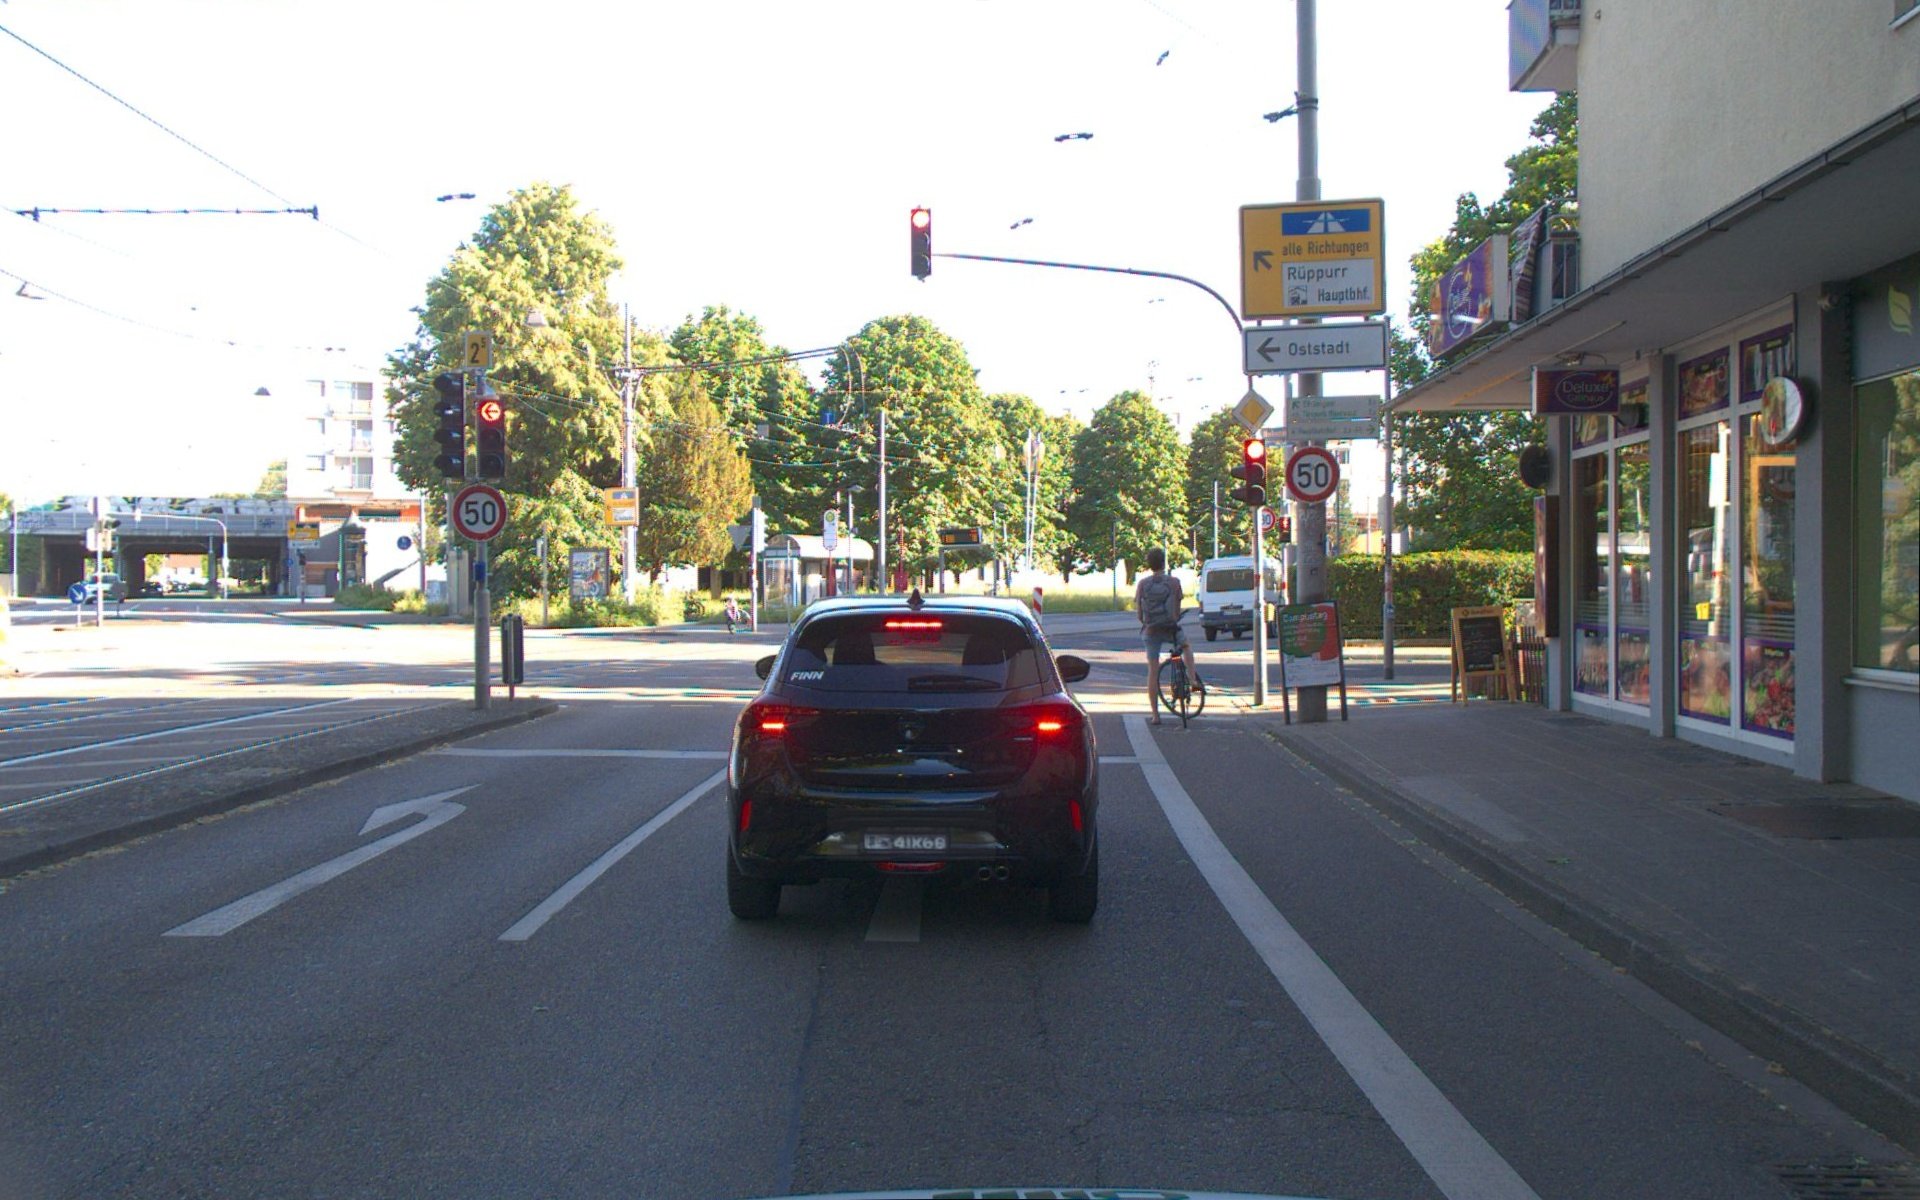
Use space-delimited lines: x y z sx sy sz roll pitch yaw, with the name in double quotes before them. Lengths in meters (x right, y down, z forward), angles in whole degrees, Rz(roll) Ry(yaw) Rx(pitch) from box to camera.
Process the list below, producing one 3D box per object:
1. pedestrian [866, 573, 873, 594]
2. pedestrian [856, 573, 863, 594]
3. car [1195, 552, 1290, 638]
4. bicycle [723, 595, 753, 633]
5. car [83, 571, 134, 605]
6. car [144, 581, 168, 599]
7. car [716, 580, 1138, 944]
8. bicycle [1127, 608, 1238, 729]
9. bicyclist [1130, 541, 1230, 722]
"pedestrian" -6.153 -1.104 112.508 0.404 1.437 0.436 2 0 -1
"pedestrian" -6.846 -1.124 112.639 0.404 1.437 0.436 2 0 -3
"car" 8.015 -0.156 46.578 2.020 2.288 4.890 0 1 17
"bicycle" -6.215 0.381 46.374 0.593 1.049 1.982 0 1 -1
"car" -47.406 -0.690 92.051 2.192 1.855 4.100 -1 1 -33
"car" -75.768 -0.966 155.819 1.969 1.630 4.211 -1 1 -26
"car" -0.151 0.642 8.782 1.692 1.454 4.186 1 0 -1
"bicycle" 2.349 0.695 17.721 0.842 1.173 2.171 -1 1 -1
"bicyclist" 2.344 0.323 17.693 0.922 1.883 0.864 -1 0 -1
